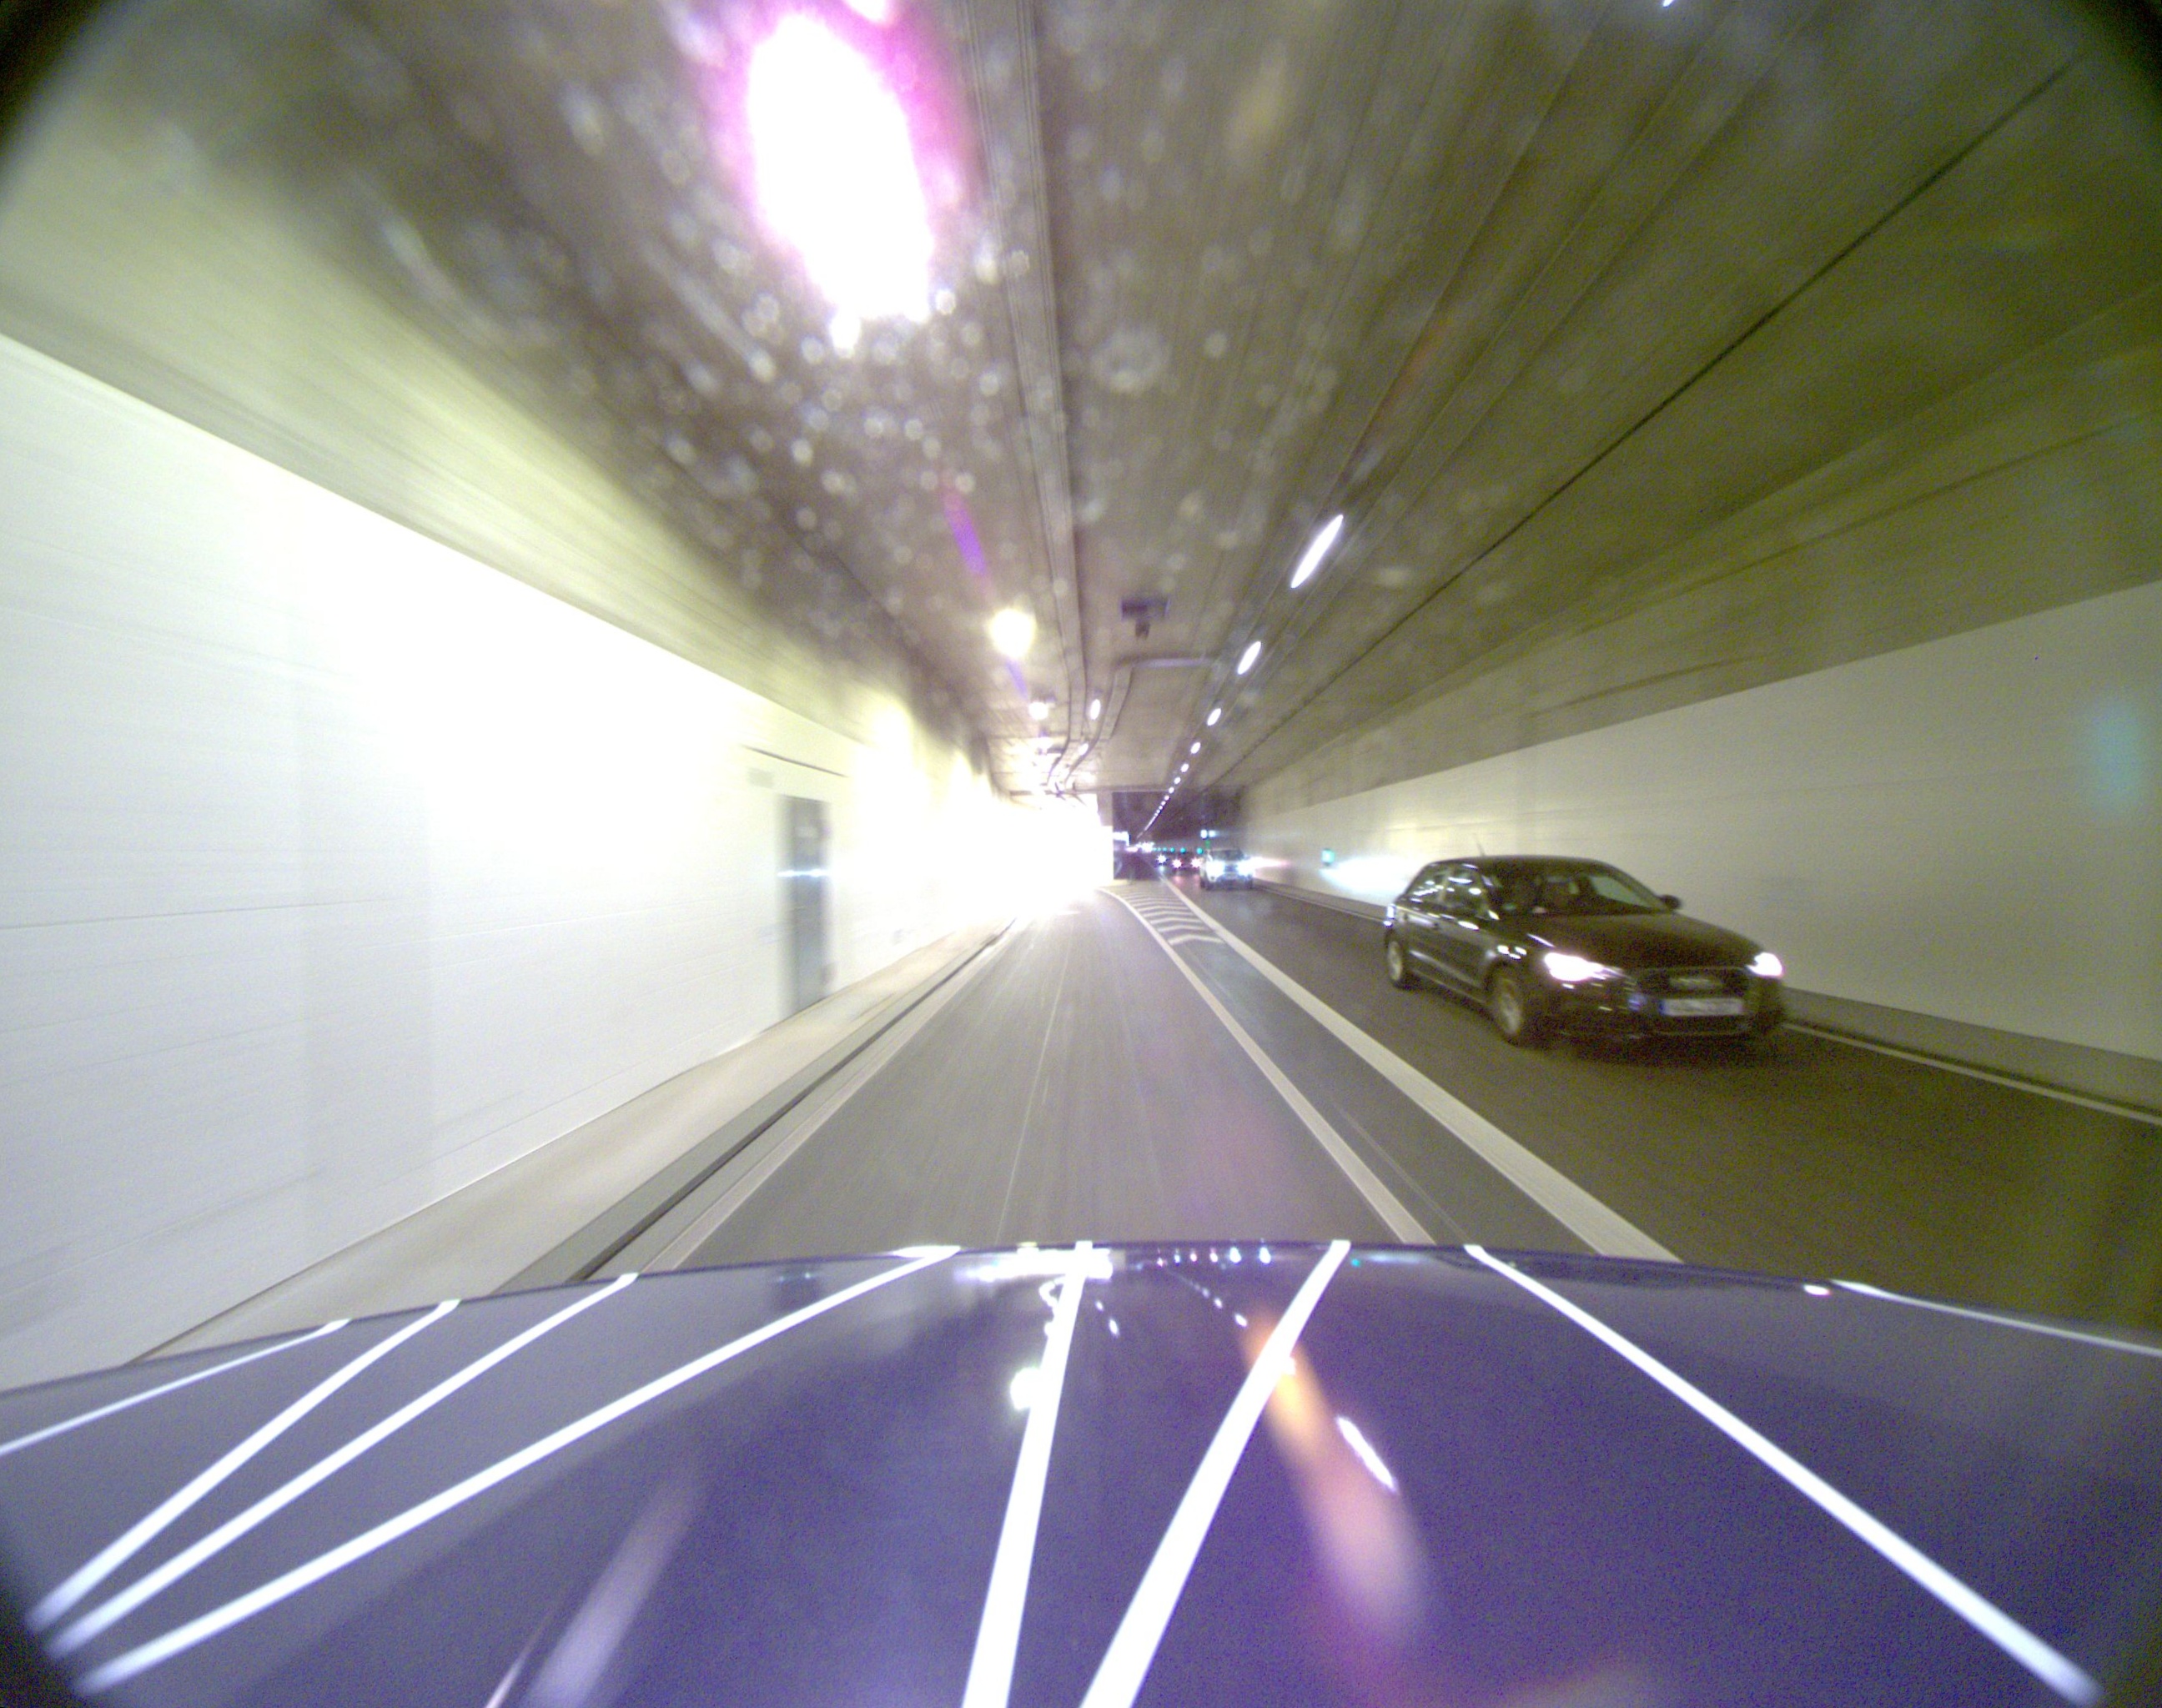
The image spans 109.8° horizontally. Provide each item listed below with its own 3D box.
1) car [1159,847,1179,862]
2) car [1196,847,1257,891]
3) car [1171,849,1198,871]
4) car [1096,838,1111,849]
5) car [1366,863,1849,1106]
[{"bbox_3d":[9.105,0.039,78.583,1.718,1.443,3.681,-3,0,3],"label":"car"},{"bbox_3d":[5.846,0.553,30.938,1.853,1.655,3.831,-1,1,3],"label":"car"},{"bbox_3d":[7.391,0.413,54.532,1.607,1.462,3.681,-3,0,5],"label":"car"},{"bbox_3d":[2.921,-1.387,98.287,1.829,1.328,4.000,-1,1,4],"label":"car"},{"bbox_3d":[4.003,0.845,6.671,1.660,1.393,3.876,-2,1,3],"label":"car"}]
